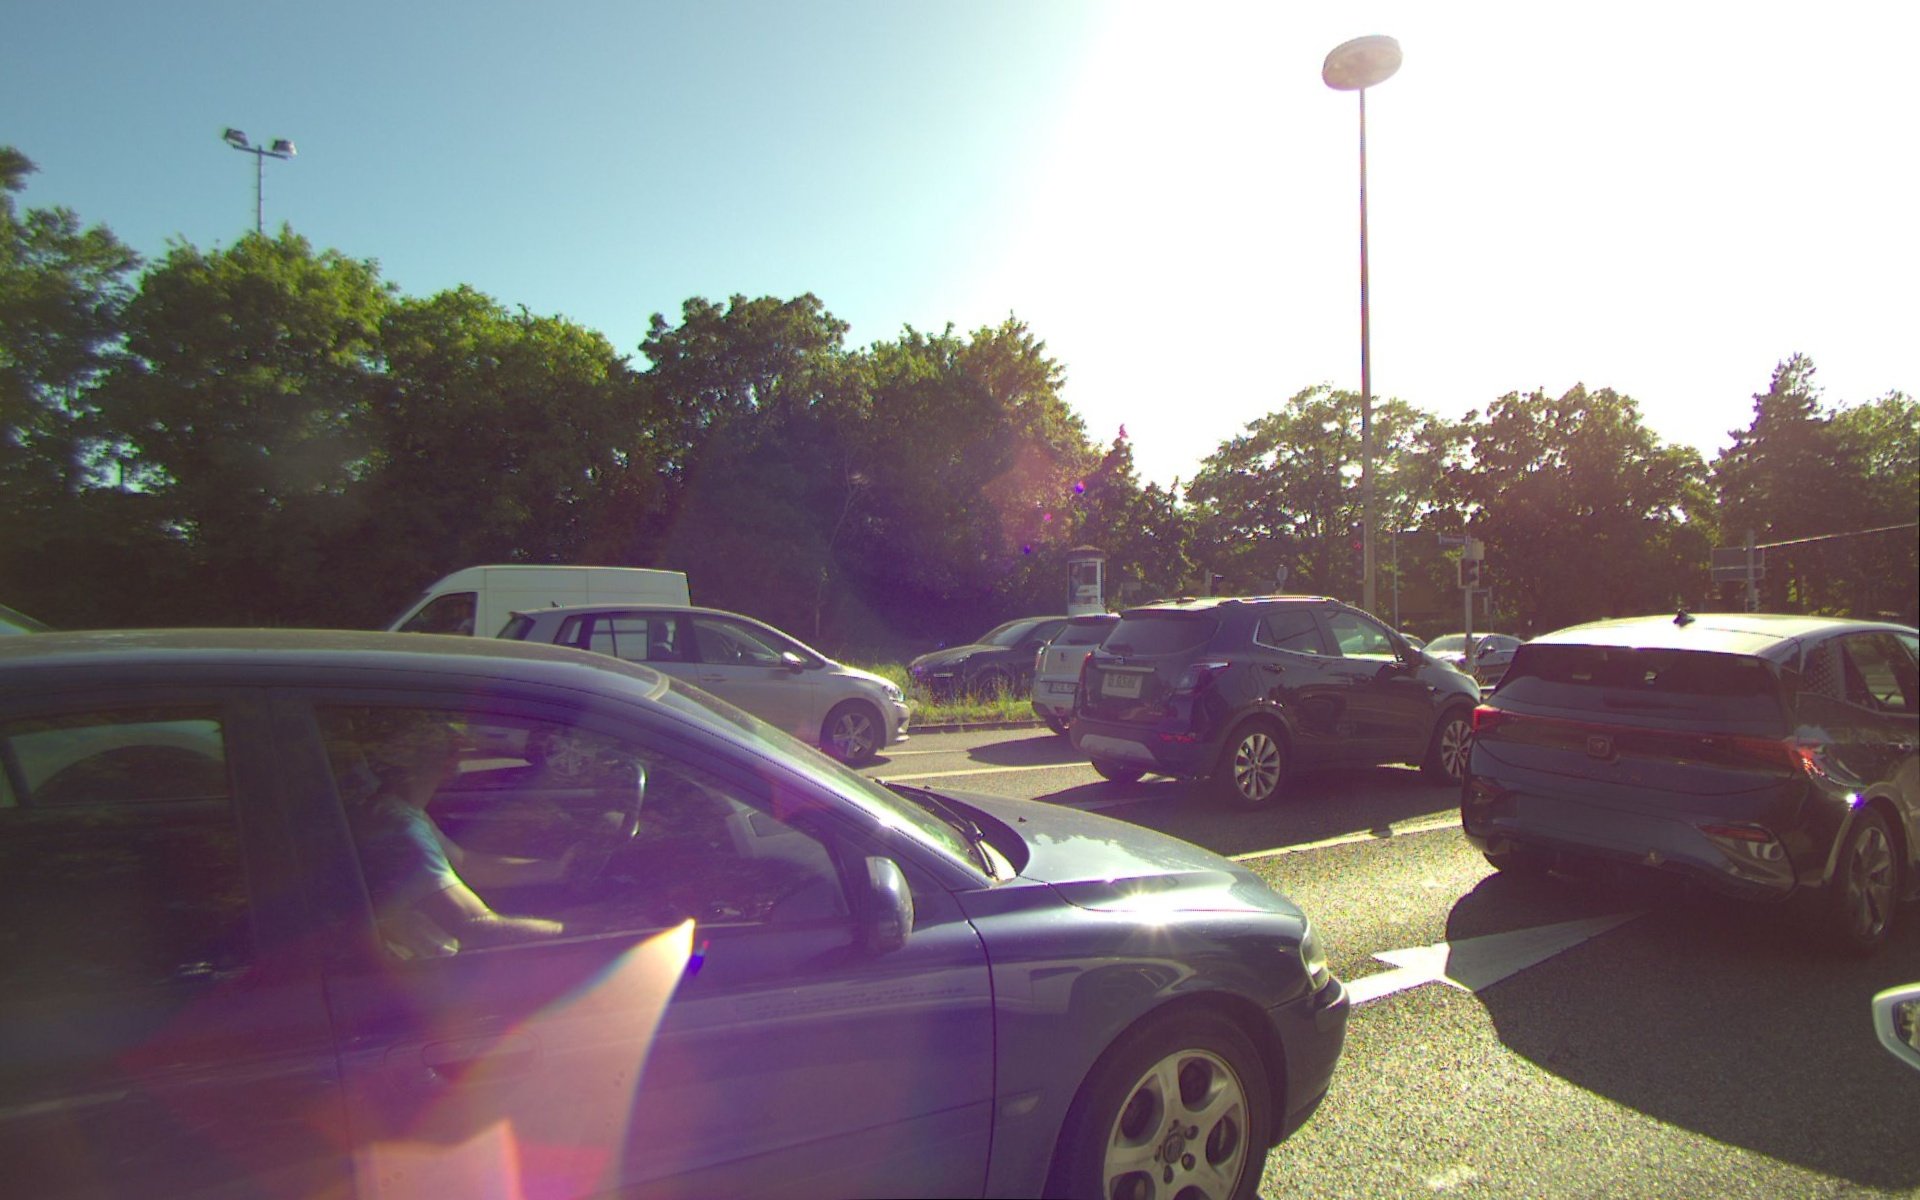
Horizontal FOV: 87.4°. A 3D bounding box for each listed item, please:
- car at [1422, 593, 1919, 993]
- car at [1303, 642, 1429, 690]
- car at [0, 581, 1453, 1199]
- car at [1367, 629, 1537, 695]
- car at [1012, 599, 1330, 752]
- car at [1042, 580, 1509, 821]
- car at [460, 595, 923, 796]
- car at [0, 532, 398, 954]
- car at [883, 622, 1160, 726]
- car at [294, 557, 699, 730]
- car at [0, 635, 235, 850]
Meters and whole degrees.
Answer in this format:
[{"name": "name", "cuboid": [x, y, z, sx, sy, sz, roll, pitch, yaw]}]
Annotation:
[{"name": "car", "cuboid": [4.741, 0.829, 5.818, 4.158, 1.601, 1.676, 2, -1, -30]}, {"name": "car", "cuboid": [11.405, 1.819, 28.142, 3.593, 1.251, 1.383, 1, -2, -30]}, {"name": "car", "cuboid": [-1.095, 0.727, 2.203, 4.404, 1.471, 1.767, 2, 0, -30]}, {"name": "car", "cuboid": [12.071, 1.464, 24.588, 4.116, 1.482, 1.768, 1, -2, -30]}, {"name": "car", "cuboid": [2.811, 0.912, 13.185, 3.956, 1.724, 1.820, 1, -2, -32]}, {"name": "car", "cuboid": [2.853, 0.776, 8.934, 3.953, 1.711, 1.796, 1, -2, -30]}, {"name": "car", "cuboid": [-2.613, 0.837, 10.007, 4.156, 1.632, 1.822, 1, -2, -30]}, {"name": "car", "cuboid": [-5.097, 0.601, 4.601, 4.373, 1.732, 1.984, 1, -2, -30]}, {"name": "car", "cuboid": [1.124, 1.215, 17.698, 4.561, 1.622, 1.984, 1, -2, -30]}, {"name": "car", "cuboid": [-7.676, 0.707, 17.101, 5.935, 2.525, 2.090, 1, -2, -31]}, {"name": "car", "cuboid": [-7.913, 0.964, 6.947, 4.499, 1.448, 1.822, 1, -2, -30]}]
